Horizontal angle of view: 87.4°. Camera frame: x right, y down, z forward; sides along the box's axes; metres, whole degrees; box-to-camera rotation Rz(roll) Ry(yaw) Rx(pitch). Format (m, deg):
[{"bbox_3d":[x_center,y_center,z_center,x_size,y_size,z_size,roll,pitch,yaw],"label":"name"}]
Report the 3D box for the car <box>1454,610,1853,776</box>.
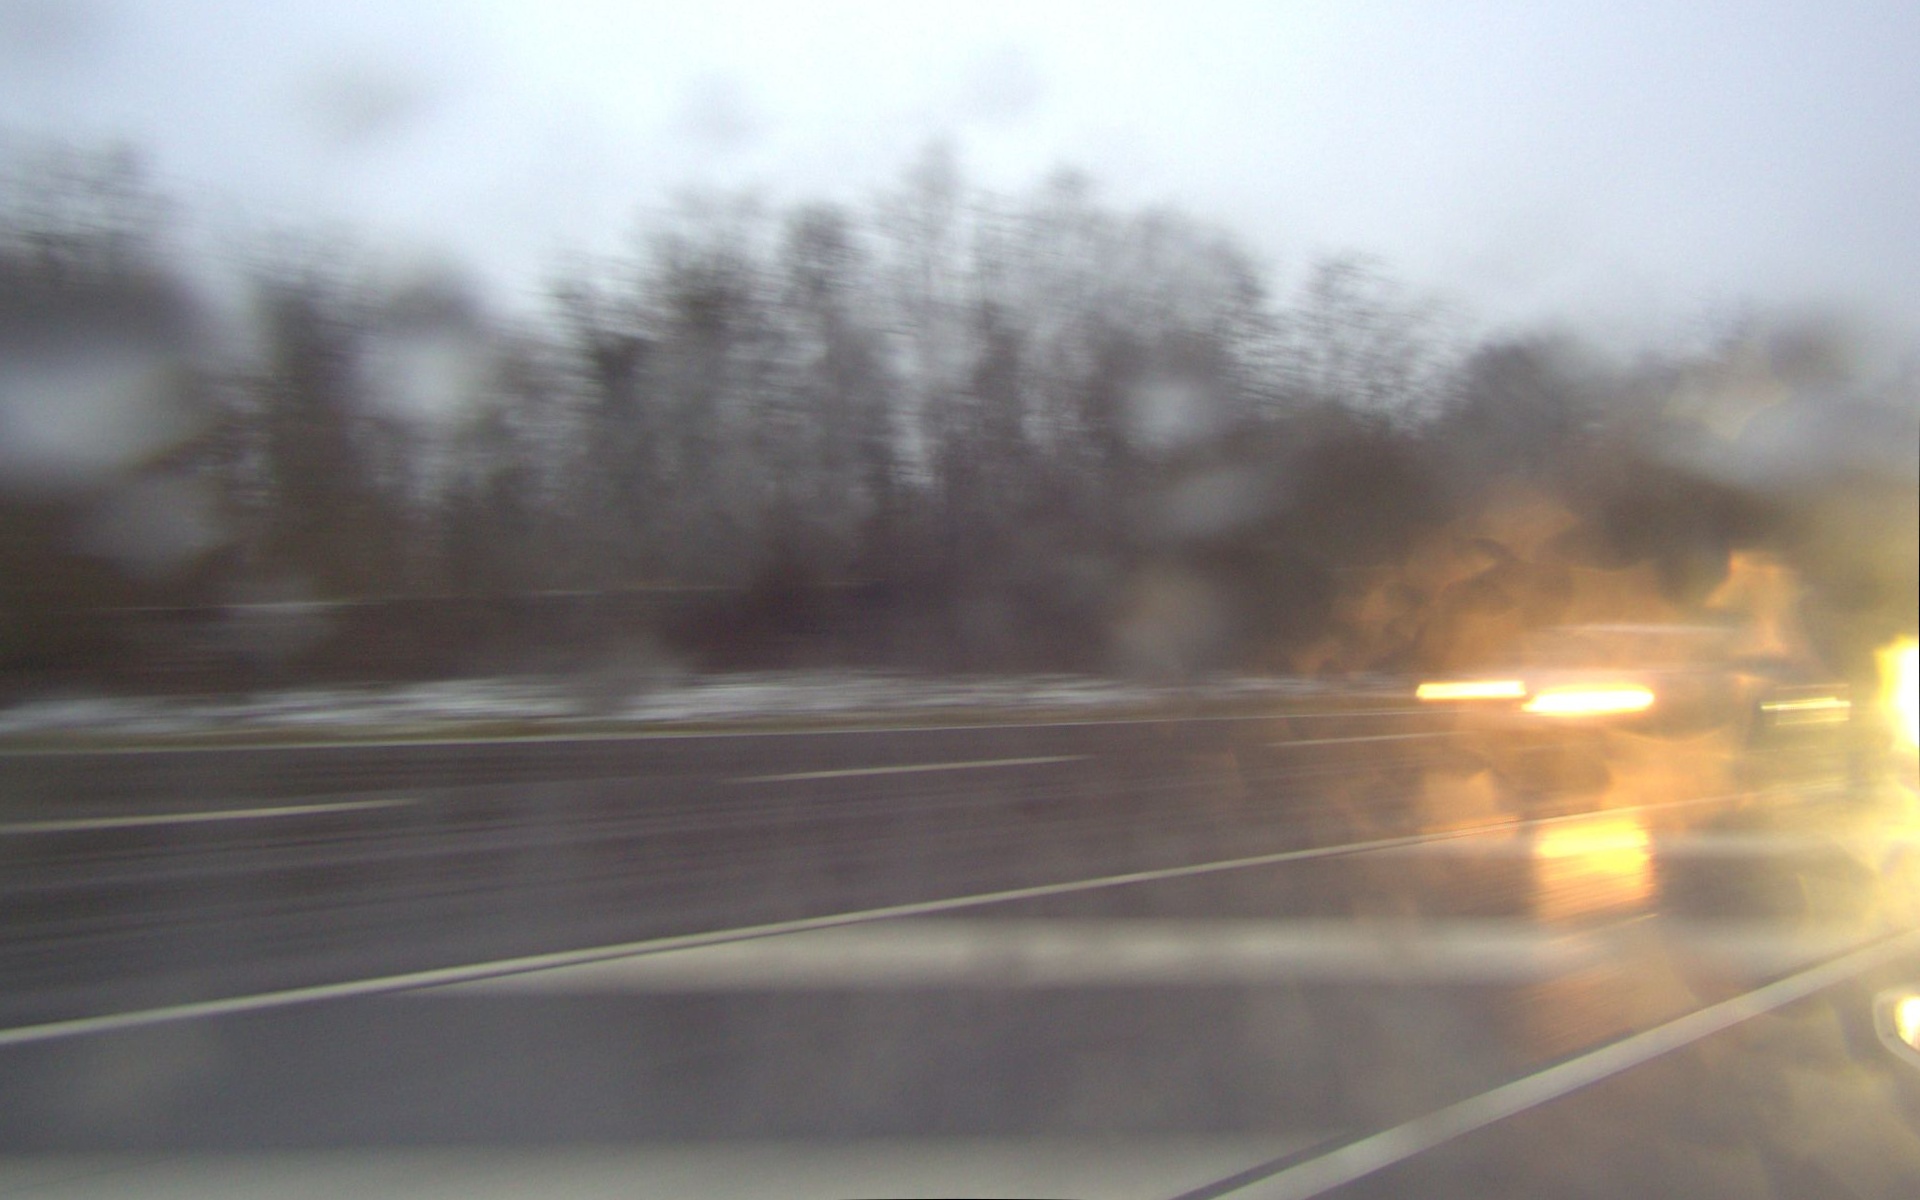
[{"bbox_3d":[7.739,0.898,11.182,4.241,1.544,1.818,0,-1,-26],"label":"car"}]
